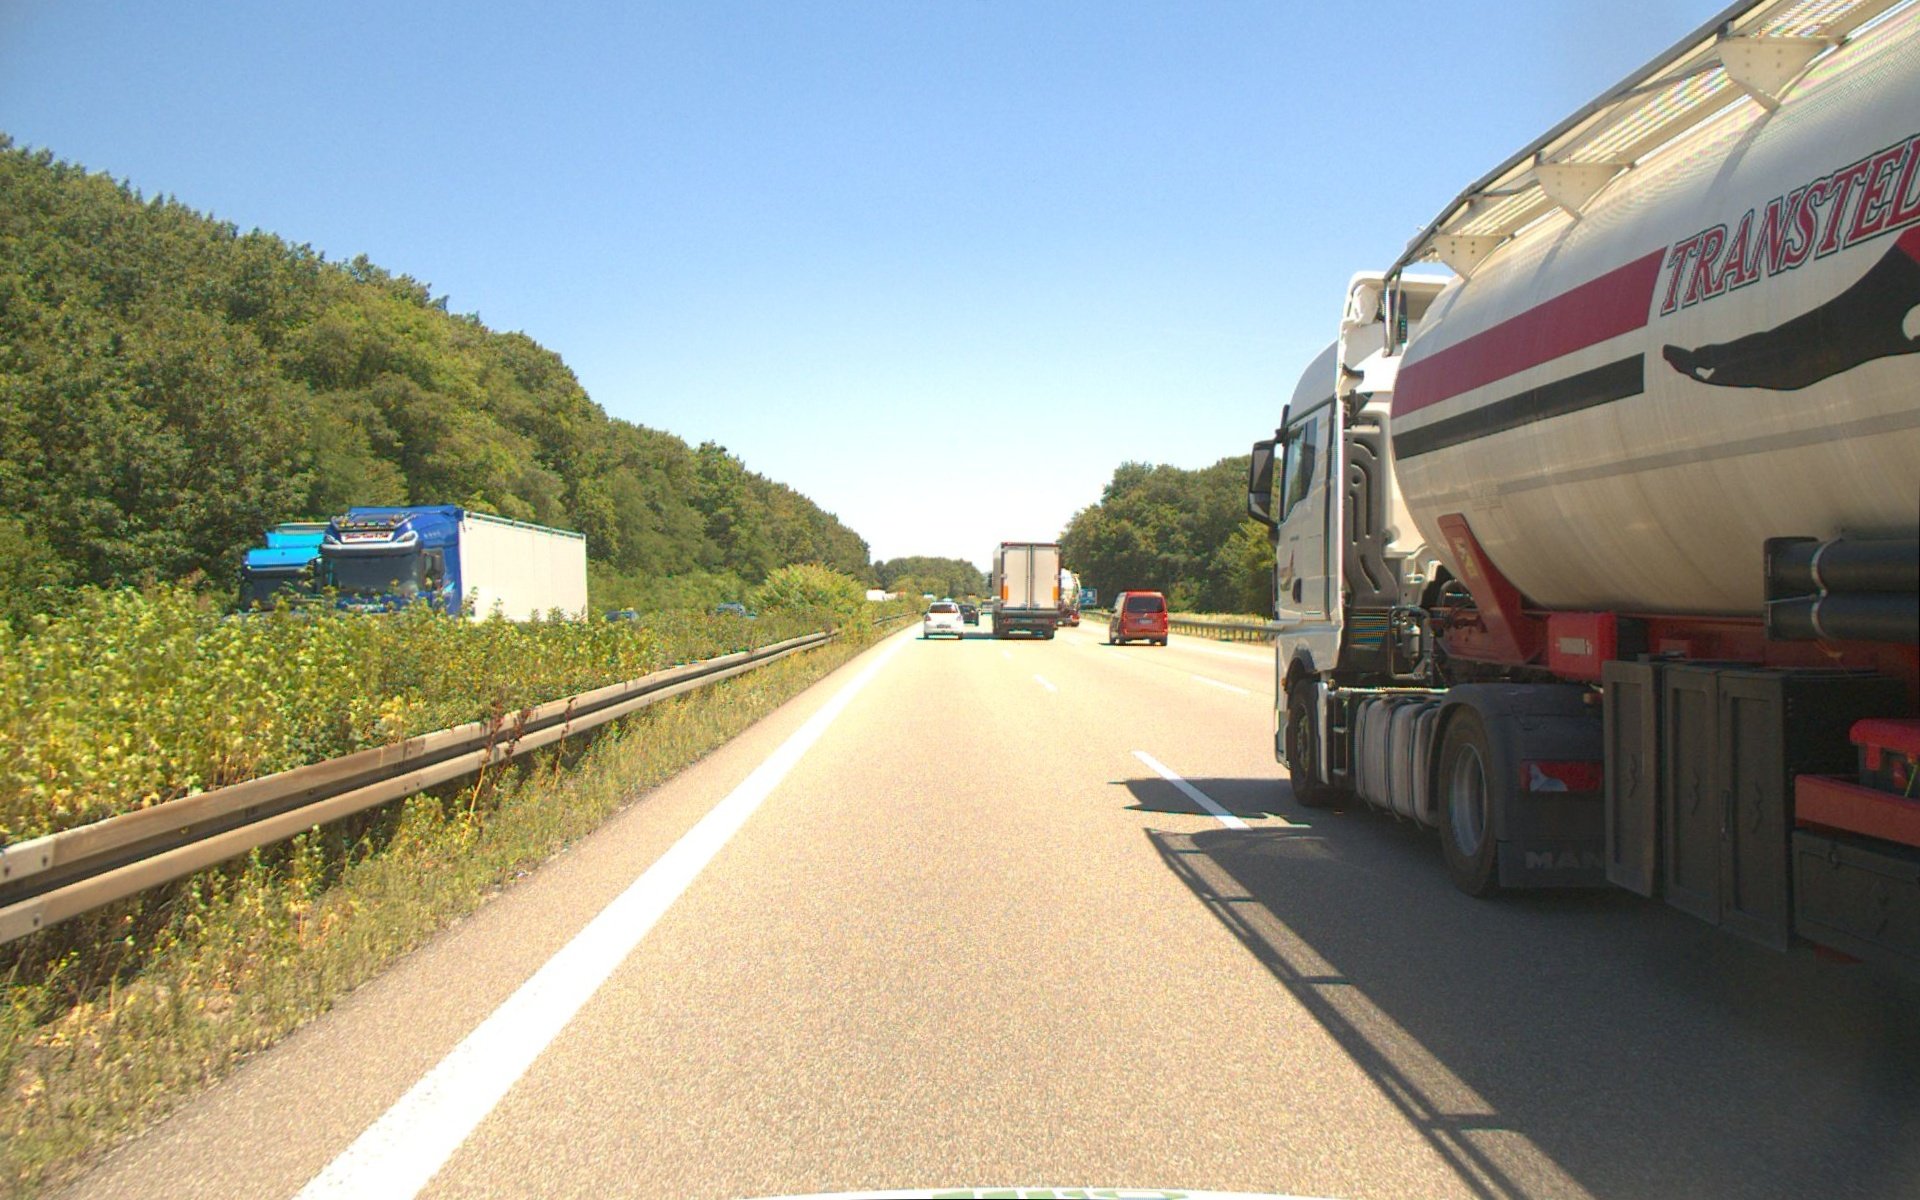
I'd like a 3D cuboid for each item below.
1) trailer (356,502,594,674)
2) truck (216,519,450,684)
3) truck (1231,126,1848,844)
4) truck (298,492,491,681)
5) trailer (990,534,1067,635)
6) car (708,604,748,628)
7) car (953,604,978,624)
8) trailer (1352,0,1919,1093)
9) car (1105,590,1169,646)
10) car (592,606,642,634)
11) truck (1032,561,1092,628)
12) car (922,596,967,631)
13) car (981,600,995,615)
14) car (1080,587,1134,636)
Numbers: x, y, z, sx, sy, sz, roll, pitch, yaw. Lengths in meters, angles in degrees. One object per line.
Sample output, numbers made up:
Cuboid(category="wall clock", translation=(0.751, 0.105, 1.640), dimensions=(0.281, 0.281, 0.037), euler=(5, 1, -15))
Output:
Cuboid(category="trailer", translation=(-13.072, -0.296, 46.243), dimensions=(2.812, 4.079, 13.515), euler=(0, 0, -1))
Cuboid(category="truck", translation=(-17.436, 0.037, 46.920), dimensions=(2.952, 4.186, 9.998), euler=(0, 0, -1))
Cuboid(category="truck", translation=(3.893, -0.698, 12.411), dimensions=(2.734, 4.278, 4.998), euler=(0, 0, -2))
Cuboid(category="truck", translation=(-12.984, -0.294, 38.399), dimensions=(2.812, 4.080, 4.999), euler=(0, 0, -1))
Cuboid(category="trailer", translation=(2.944, -0.654, 74.894), dimensions=(3.157, 4.216, 12.352), euler=(0, 0, 1))
Cuboid(category="car", translation=(-13.113, 0.895, 93.760), dimensions=(1.758, 1.362, 3.999), euler=(0, 0, -1))
Cuboid(category="car", translation=(0.370, 0.945, 110.911), dimensions=(1.634, 1.312, 3.999), euler=(0, 0, -1))
Cuboid(category="trailer", translation=(4.164, -0.705, 4.819), dimensions=(2.734, 4.278, 12.348), euler=(0, 0, -2))
Cuboid(category="car", translation=(6.814, 0.667, 64.214), dimensions=(1.818, 2.038, 5.521), euler=(1, 0, -1))
Cuboid(category="car", translation=(-17.298, 1.009, 83.641), dimensions=(1.758, 1.362, 3.999), euler=(0, 0, -1))
Cuboid(category="truck", translation=(7.075, -0.366, 116.002), dimensions=(3.158, 4.421, 10.803), euler=(0, 0, -2))
Cuboid(category="car", translation=(-0.671, 0.566, 69.404), dimensions=(1.775, 1.429, 3.316), euler=(0, 0, -2))
Cuboid(category="car", translation=(3.463, 0.929, 203.415), dimensions=(1.634, 1.796, 3.999), euler=(0, 0, -1))
Cuboid(category="car", translation=(6.312, 0.497, 71.312), dimensions=(1.953, 2.049, 4.000), euler=(0, 0, 0))
